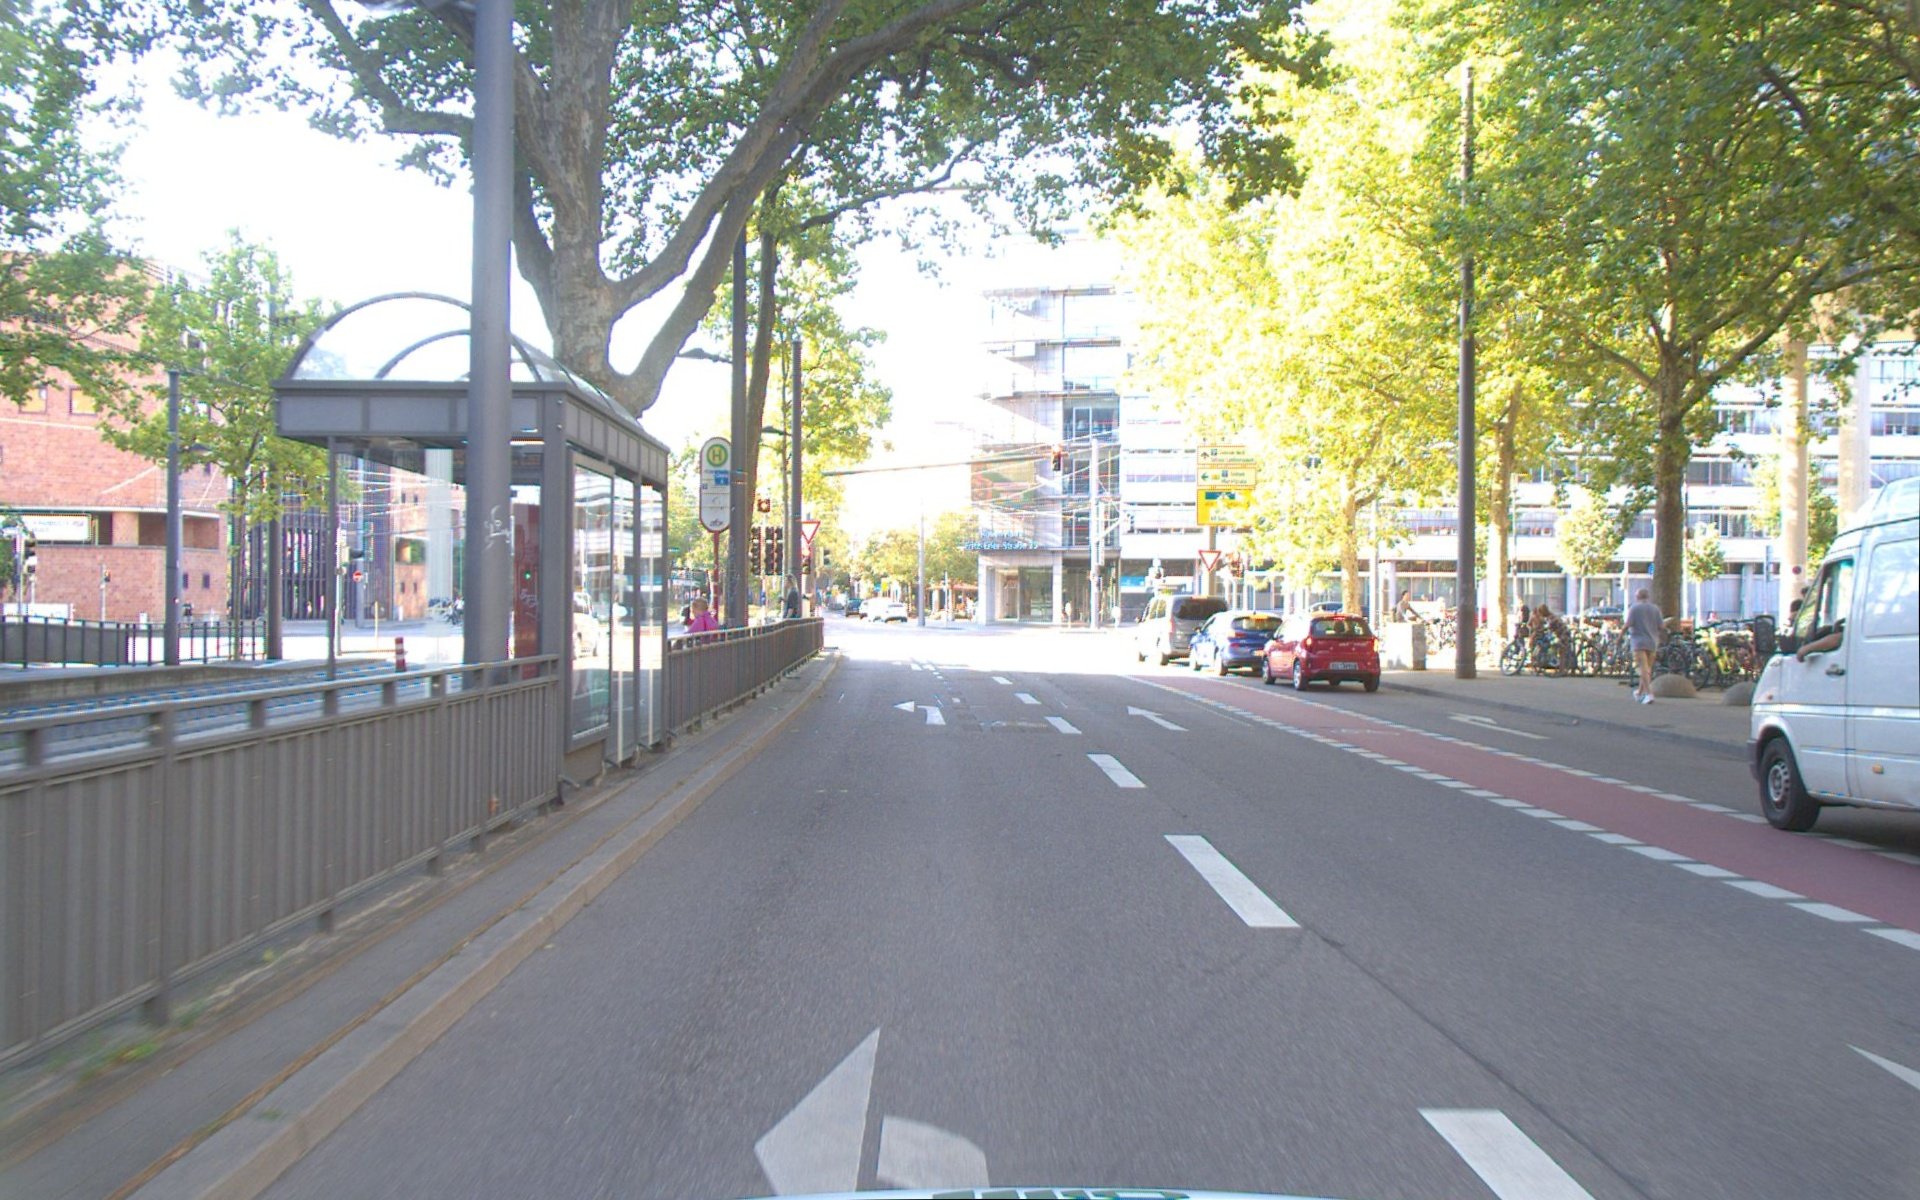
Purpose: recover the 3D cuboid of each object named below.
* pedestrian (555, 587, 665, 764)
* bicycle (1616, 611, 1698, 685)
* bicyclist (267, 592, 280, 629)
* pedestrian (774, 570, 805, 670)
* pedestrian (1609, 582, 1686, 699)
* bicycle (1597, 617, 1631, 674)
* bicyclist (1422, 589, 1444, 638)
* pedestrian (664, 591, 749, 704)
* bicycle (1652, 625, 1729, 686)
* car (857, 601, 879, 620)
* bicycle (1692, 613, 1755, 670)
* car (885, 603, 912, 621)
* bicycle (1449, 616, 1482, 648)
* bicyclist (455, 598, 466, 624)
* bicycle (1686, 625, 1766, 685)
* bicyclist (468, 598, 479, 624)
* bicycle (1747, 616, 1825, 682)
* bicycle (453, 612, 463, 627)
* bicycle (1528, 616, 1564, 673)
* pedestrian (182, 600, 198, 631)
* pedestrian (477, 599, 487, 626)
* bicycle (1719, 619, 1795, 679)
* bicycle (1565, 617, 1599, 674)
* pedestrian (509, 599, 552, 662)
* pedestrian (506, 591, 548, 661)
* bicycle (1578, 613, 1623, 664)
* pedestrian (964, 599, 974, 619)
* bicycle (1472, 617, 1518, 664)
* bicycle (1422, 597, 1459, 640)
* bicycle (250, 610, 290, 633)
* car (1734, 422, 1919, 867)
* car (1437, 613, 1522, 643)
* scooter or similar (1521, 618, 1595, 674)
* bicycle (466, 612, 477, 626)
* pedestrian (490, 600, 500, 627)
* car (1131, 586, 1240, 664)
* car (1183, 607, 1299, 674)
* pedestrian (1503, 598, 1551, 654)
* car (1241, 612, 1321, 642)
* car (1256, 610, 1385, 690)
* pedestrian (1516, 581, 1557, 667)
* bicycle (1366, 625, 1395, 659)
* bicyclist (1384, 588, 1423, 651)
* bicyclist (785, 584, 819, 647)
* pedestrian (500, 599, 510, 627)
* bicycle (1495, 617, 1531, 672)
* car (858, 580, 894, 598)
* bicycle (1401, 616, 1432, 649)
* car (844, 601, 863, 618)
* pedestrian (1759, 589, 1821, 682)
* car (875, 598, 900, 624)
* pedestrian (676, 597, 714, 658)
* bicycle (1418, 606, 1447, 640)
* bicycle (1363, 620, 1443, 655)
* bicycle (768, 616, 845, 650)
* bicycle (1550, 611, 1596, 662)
[{"bbox_3d":[-2.891,0.615,13.708,0.719,1.412,0.640,2,-1,0],"label":"pedestrian"},{"bbox_3d":[12.645,0.852,30.051,0.584,1.286,1.874,0,0,-4],"label":"bicycle"},{"bbox_3d":[-38.984,0.609,93.891,0.444,2.096,0.558,-1,-1,44],"label":"bicyclist"},{"bbox_3d":[-3.364,0.400,32.649,0.499,1.933,0.759,2,-1,-3],"label":"pedestrian"},{"bbox_3d":[10.892,0.634,26.229,0.854,1.817,0.808,0,0,-3],"label":"pedestrian"},{"bbox_3d":[13.602,0.923,34.393,0.594,1.135,1.825,0,0,23],"label":"bicycle"},{"bbox_3d":[16.233,0.464,56.748,0.550,1.645,0.822,0,0,2],"label":"bicyclist"},{"bbox_3d":[-3.320,0.618,21.699,0.956,1.424,0.664,2,-1,0],"label":"pedestrian"},{"bbox_3d":[13.292,1.001,30.131,0.584,1.050,1.653,0,0,-4],"label":"bicycle"},{"bbox_3d":[-8.287,0.934,148.510,1.954,1.691,3.996,0,0,-4],"label":"car"},{"bbox_3d":[16.339,0.881,35.423,0.413,1.180,1.472,0,0,-12],"label":"bicycle"},{"bbox_3d":[-4.707,0.932,126.593,1.954,1.355,3.996,0,0,-4],"label":"car"},{"bbox_3d":[15.788,0.994,51.676,0.441,1.000,1.475,0,0,-6],"label":"bicycle"},{"bbox_3d":[-32.310,0.693,107.081,0.582,1.705,0.787,0,0,-10],"label":"bicyclist"},{"bbox_3d":[13.970,0.990,30.203,0.584,1.050,1.653,0,0,-4],"label":"bicycle"},{"bbox_3d":[-31.584,0.719,107.392,0.582,1.705,0.787,0,0,-10],"label":"bicyclist"},{"bbox_3d":[15.106,0.873,30.276,0.492,1.157,1.653,0,0,-4],"label":"bicycle"},{"bbox_3d":[-32.458,1.260,106.956,0.503,0.897,1.834,0,0,-12],"label":"bicycle"},{"bbox_3d":[12.393,0.923,34.944,0.583,1.135,1.948,0,0,23],"label":"bicycle"},{"bbox_3d":[-41.360,0.834,88.824,0.532,1.642,0.570,0,0,27],"label":"pedestrian"},{"bbox_3d":[-29.124,0.757,100.841,0.529,1.679,0.621,0,0,-23],"label":"pedestrian"},{"bbox_3d":[14.568,0.880,30.263,0.492,1.050,1.653,0,0,-4],"label":"bicycle"},{"bbox_3d":[13.030,0.939,34.645,0.583,1.135,1.825,0,0,23],"label":"bicycle"},{"bbox_3d":[-11.839,0.834,45.578,1.053,1.711,0.756,1,-1,-11],"label":"pedestrian"},{"bbox_3d":[-12.120,0.731,46.290,1.054,1.904,0.737,1,-1,-11],"label":"pedestrian"},{"bbox_3d":[15.246,0.907,39.384,0.412,1.180,1.475,0,0,-3],"label":"bicycle"},{"bbox_3d":[0.673,0.653,121.802,0.725,1.491,0.536,0,0,-6],"label":"pedestrian"},{"bbox_3d":[12.598,0.945,39.000,0.614,1.075,1.572,0,0,2],"label":"bicycle"},{"bbox_3d":[15.042,0.577,51.764,0.441,1.309,1.885,0,0,-6],"label":"bicycle"},{"bbox_3d":[-39.095,1.220,93.773,0.445,1.261,2.082,-1,0,44],"label":"bicycle"},{"bbox_3d":[6.927,0.297,9.820,1.952,2.772,6.564,2,0,4],"label":"car"},{"bbox_3d":[28.865,1.543,91.992,4.153,1.587,1.796,0,0,2],"label":"car"},{"bbox_3d":[13.256,1.029,36.670,1.233,1.162,0.912,4,-3,-18],"label":"scooter or similar"},{"bbox_3d":[-31.683,1.239,107.322,0.503,0.897,1.834,0,0,-12],"label":"bicycle"},{"bbox_3d":[-28.621,0.842,101.735,0.529,1.679,0.621,0,0,-23],"label":"pedestrian"},{"bbox_3d":[6.192,0.658,46.008,1.954,2.000,5.133,2,0,-4],"label":"car"},{"bbox_3d":[6.635,0.919,39.479,1.730,1.490,4.212,0,0,-5],"label":"car"},{"bbox_3d":[19.411,0.890,56.665,1.186,1.854,1.039,2,-1,-10],"label":"pedestrian"},{"bbox_3d":[17.971,1.509,92.684,4.152,1.630,1.796,0,0,2],"label":"car"},{"bbox_3d":[7.137,0.953,33.046,1.528,1.490,3.618,1,0,-4],"label":"car"},{"bbox_3d":[12.251,0.503,35.152,0.789,1.817,0.657,0,0,22],"label":"pedestrian"},{"bbox_3d":[13.112,1.302,51.589,0.412,0.996,1.475,0,0,-6],"label":"bicycle"},{"bbox_3d":[12.652,0.554,47.221,0.836,1.798,0.748,-1,0,40],"label":"bicyclist"},{"bbox_3d":[-4.602,0.445,48.187,0.837,1.816,0.748,0,0,-20],"label":"bicyclist"},{"bbox_3d":[-27.826,0.793,101.131,0.529,1.679,0.621,0,0,-23],"label":"pedestrian"},{"bbox_3d":[11.927,0.950,35.636,0.583,1.135,1.825,0,0,23],"label":"bicycle"},{"bbox_3d":[-9.321,-1.229,183.676,3.681,1.780,1.783,2,-1,10],"label":"car"},{"bbox_3d":[14.303,1.004,51.872,0.441,1.000,1.475,0,0,-6],"label":"bicycle"},{"bbox_3d":[-10.982,0.934,170.052,1.954,1.691,3.996,0,0,-4],"label":"car"},{"bbox_3d":[16.119,0.688,32.136,0.800,1.788,0.771,0,0,1],"label":"pedestrian"},{"bbox_3d":[-5.873,0.883,133.446,1.954,2.026,3.996,0,0,-4],"label":"car"},{"bbox_3d":[-7.783,0.803,48.580,1.053,1.745,0.627,1,-1,-8],"label":"pedestrian"},{"bbox_3d":[16.239,0.765,56.824,0.554,1.146,1.779,0,0,2],"label":"bicycle"},{"bbox_3d":[12.634,1.066,47.231,2.144,0.950,0.664,0,0,41],"label":"bicycle"},{"bbox_3d":[-4.466,0.958,48.249,2.145,0.950,0.664,0,0,-20],"label":"bicycle"},{"bbox_3d":[14.527,0.853,39.241,0.412,1.180,1.475,0,0,-6],"label":"bicycle"}]
